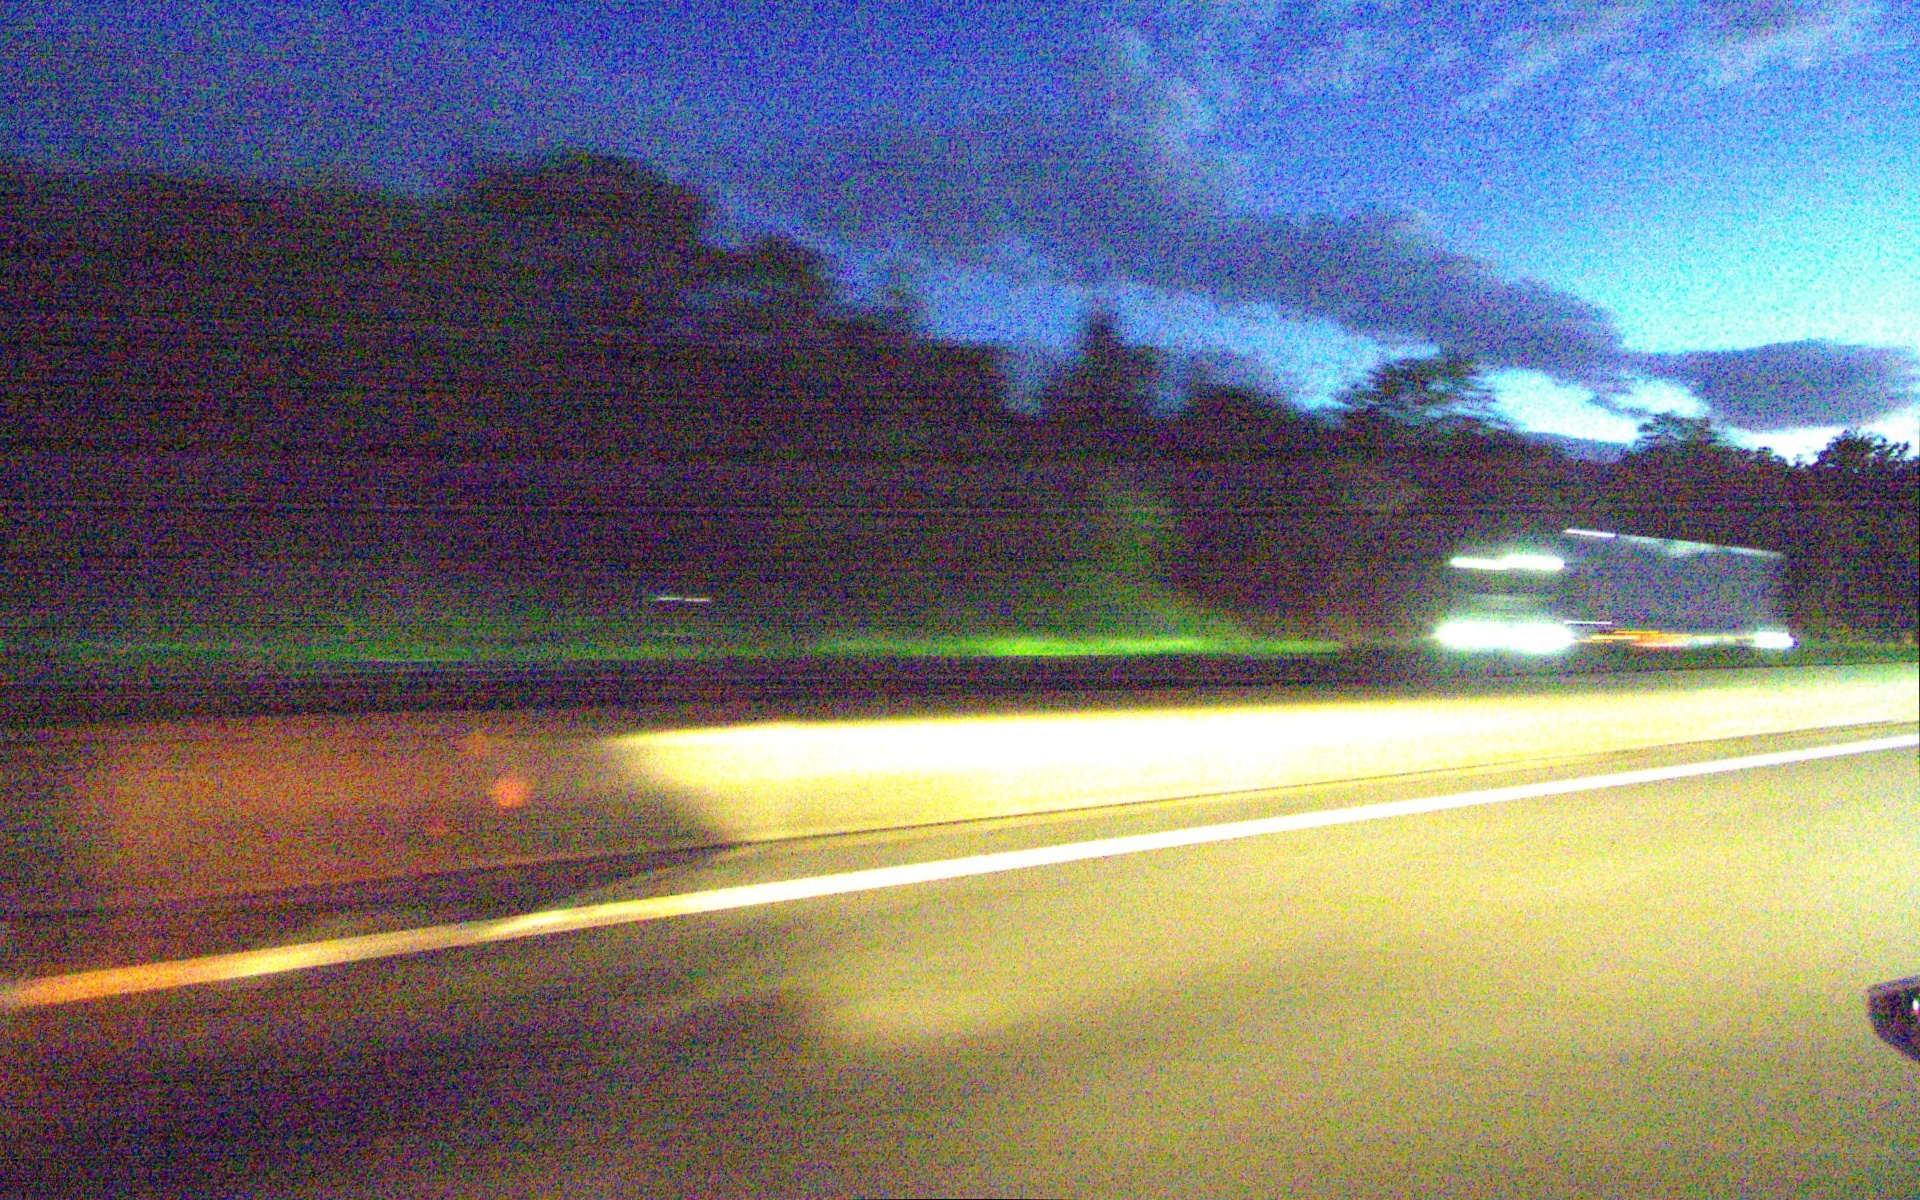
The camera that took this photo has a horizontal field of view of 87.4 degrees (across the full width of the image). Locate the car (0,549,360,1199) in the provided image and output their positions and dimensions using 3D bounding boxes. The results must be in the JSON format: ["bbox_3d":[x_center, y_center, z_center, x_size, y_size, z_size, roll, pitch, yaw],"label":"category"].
[{"bbox_3d":[-4.182,0.649,1.442,5.580,1.539,1.985,1,0,-29],"label":"car"}]

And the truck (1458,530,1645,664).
[{"bbox_3d":[19.450,-0.025,32.992,5.792,4.033,2.840,2,0,-31],"label":"truck"}]

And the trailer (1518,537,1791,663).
[{"bbox_3d":[25.767,0.167,36.806,13.726,4.033,2.839,2,-1,-31],"label":"trailer"}]
